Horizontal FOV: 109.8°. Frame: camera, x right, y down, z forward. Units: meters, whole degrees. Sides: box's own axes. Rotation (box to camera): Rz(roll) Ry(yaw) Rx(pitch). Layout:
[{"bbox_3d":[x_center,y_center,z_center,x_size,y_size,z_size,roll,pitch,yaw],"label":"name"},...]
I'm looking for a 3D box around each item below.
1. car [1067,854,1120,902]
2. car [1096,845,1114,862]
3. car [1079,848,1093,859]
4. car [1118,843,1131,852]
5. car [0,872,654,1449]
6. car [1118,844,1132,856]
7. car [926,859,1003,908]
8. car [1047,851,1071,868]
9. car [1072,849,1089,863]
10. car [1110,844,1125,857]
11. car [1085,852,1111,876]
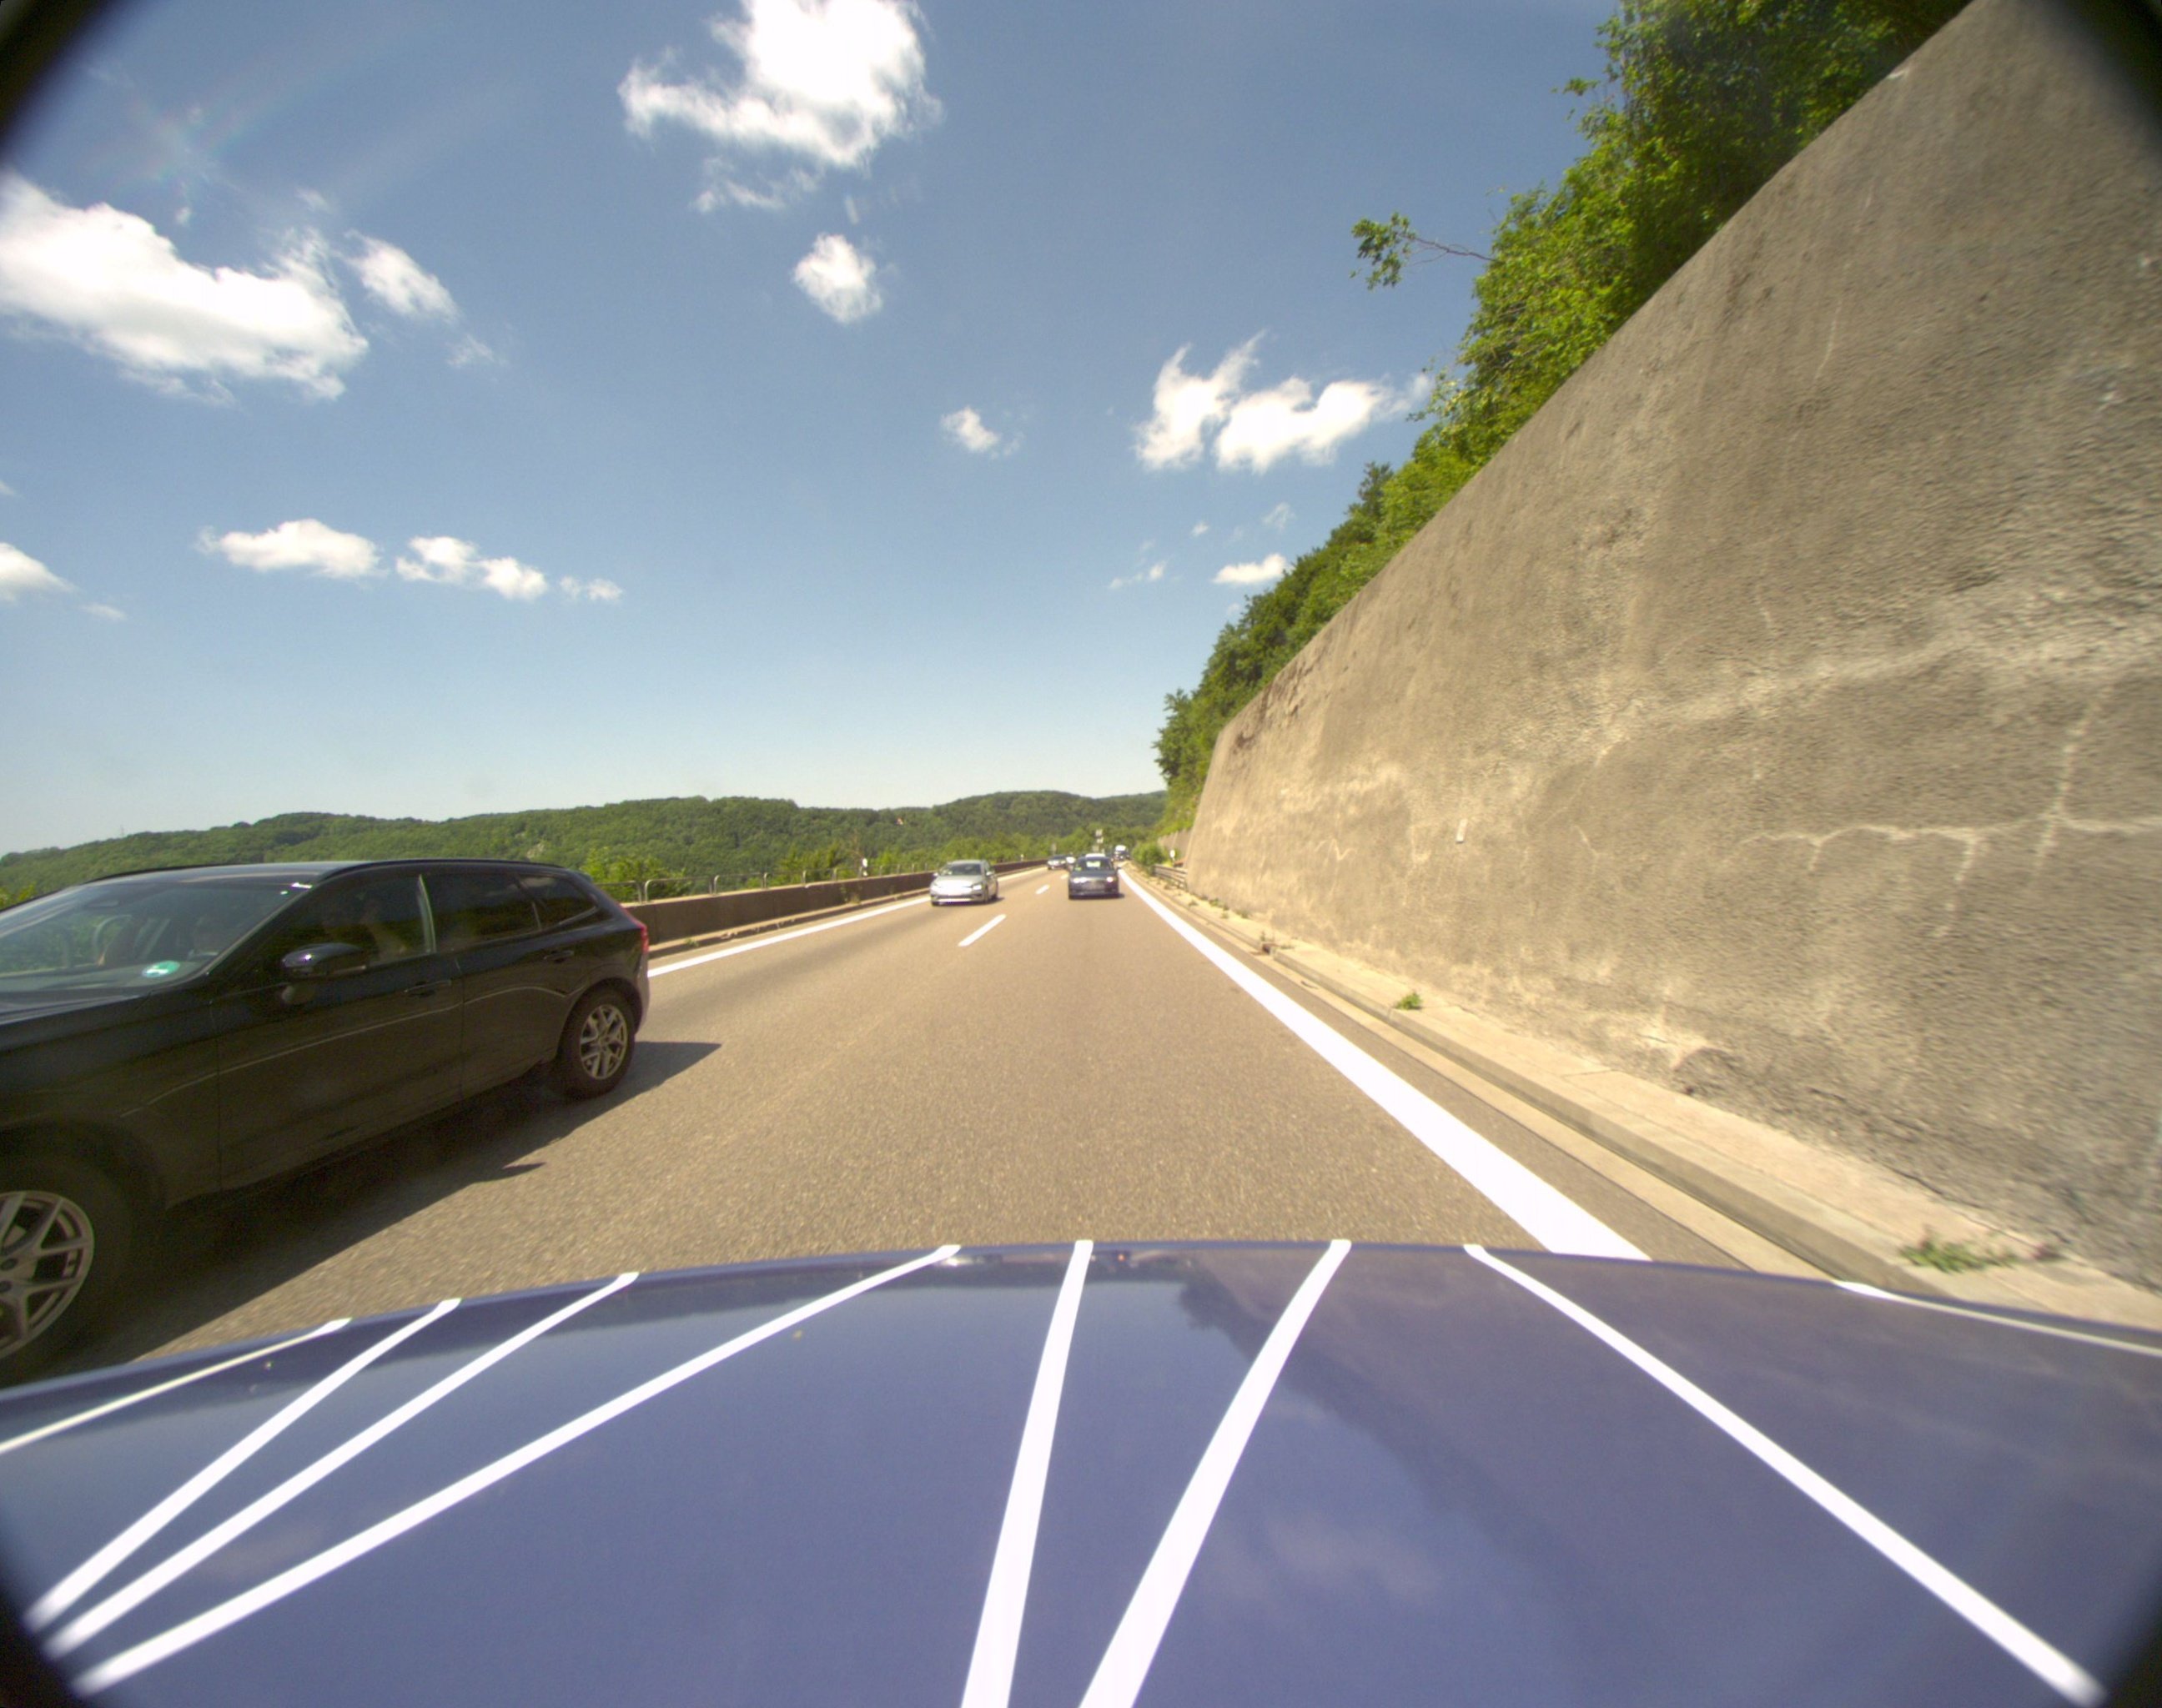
[{"bbox_3d":[0.491,0.754,26.241,1.669,1.415,4.044,-1,1,3],"label":"car"},{"bbox_3d":[2.858,-0.044,91.291,1.998,2.002,4.001,-1,0,3],"label":"car"},{"bbox_3d":[0.794,-0.098,113.612,1.775,1.565,4.001,-2,0,4],"label":"car"},{"bbox_3d":[9.338,-1.351,164.456,1.996,2.002,4.004,-1,0,15],"label":"car"},{"bbox_3d":[-4.194,1.005,3.386,1.839,1.624,4.662,-2,1,1],"label":"car"},{"bbox_3d":[7.898,-0.792,135.768,1.997,2.002,4.002,-2,1,9],"label":"car"},{"bbox_3d":[-3.825,0.931,25.721,1.973,1.370,4.292,-2,1,-1],"label":"car"},{"bbox_3d":[-2.161,0.515,75.667,1.875,1.565,4.001,-1,1,5],"label":"car"},{"bbox_3d":[-0.060,0.229,96.077,1.775,1.565,4.001,-2,0,4],"label":"car"},{"bbox_3d":[6.051,-0.579,125.264,1.997,2.002,4.002,-2,1,10],"label":"car"},{"bbox_3d":[1.161,0.646,51.156,1.703,1.432,4.043,0,1,2],"label":"car"}]
